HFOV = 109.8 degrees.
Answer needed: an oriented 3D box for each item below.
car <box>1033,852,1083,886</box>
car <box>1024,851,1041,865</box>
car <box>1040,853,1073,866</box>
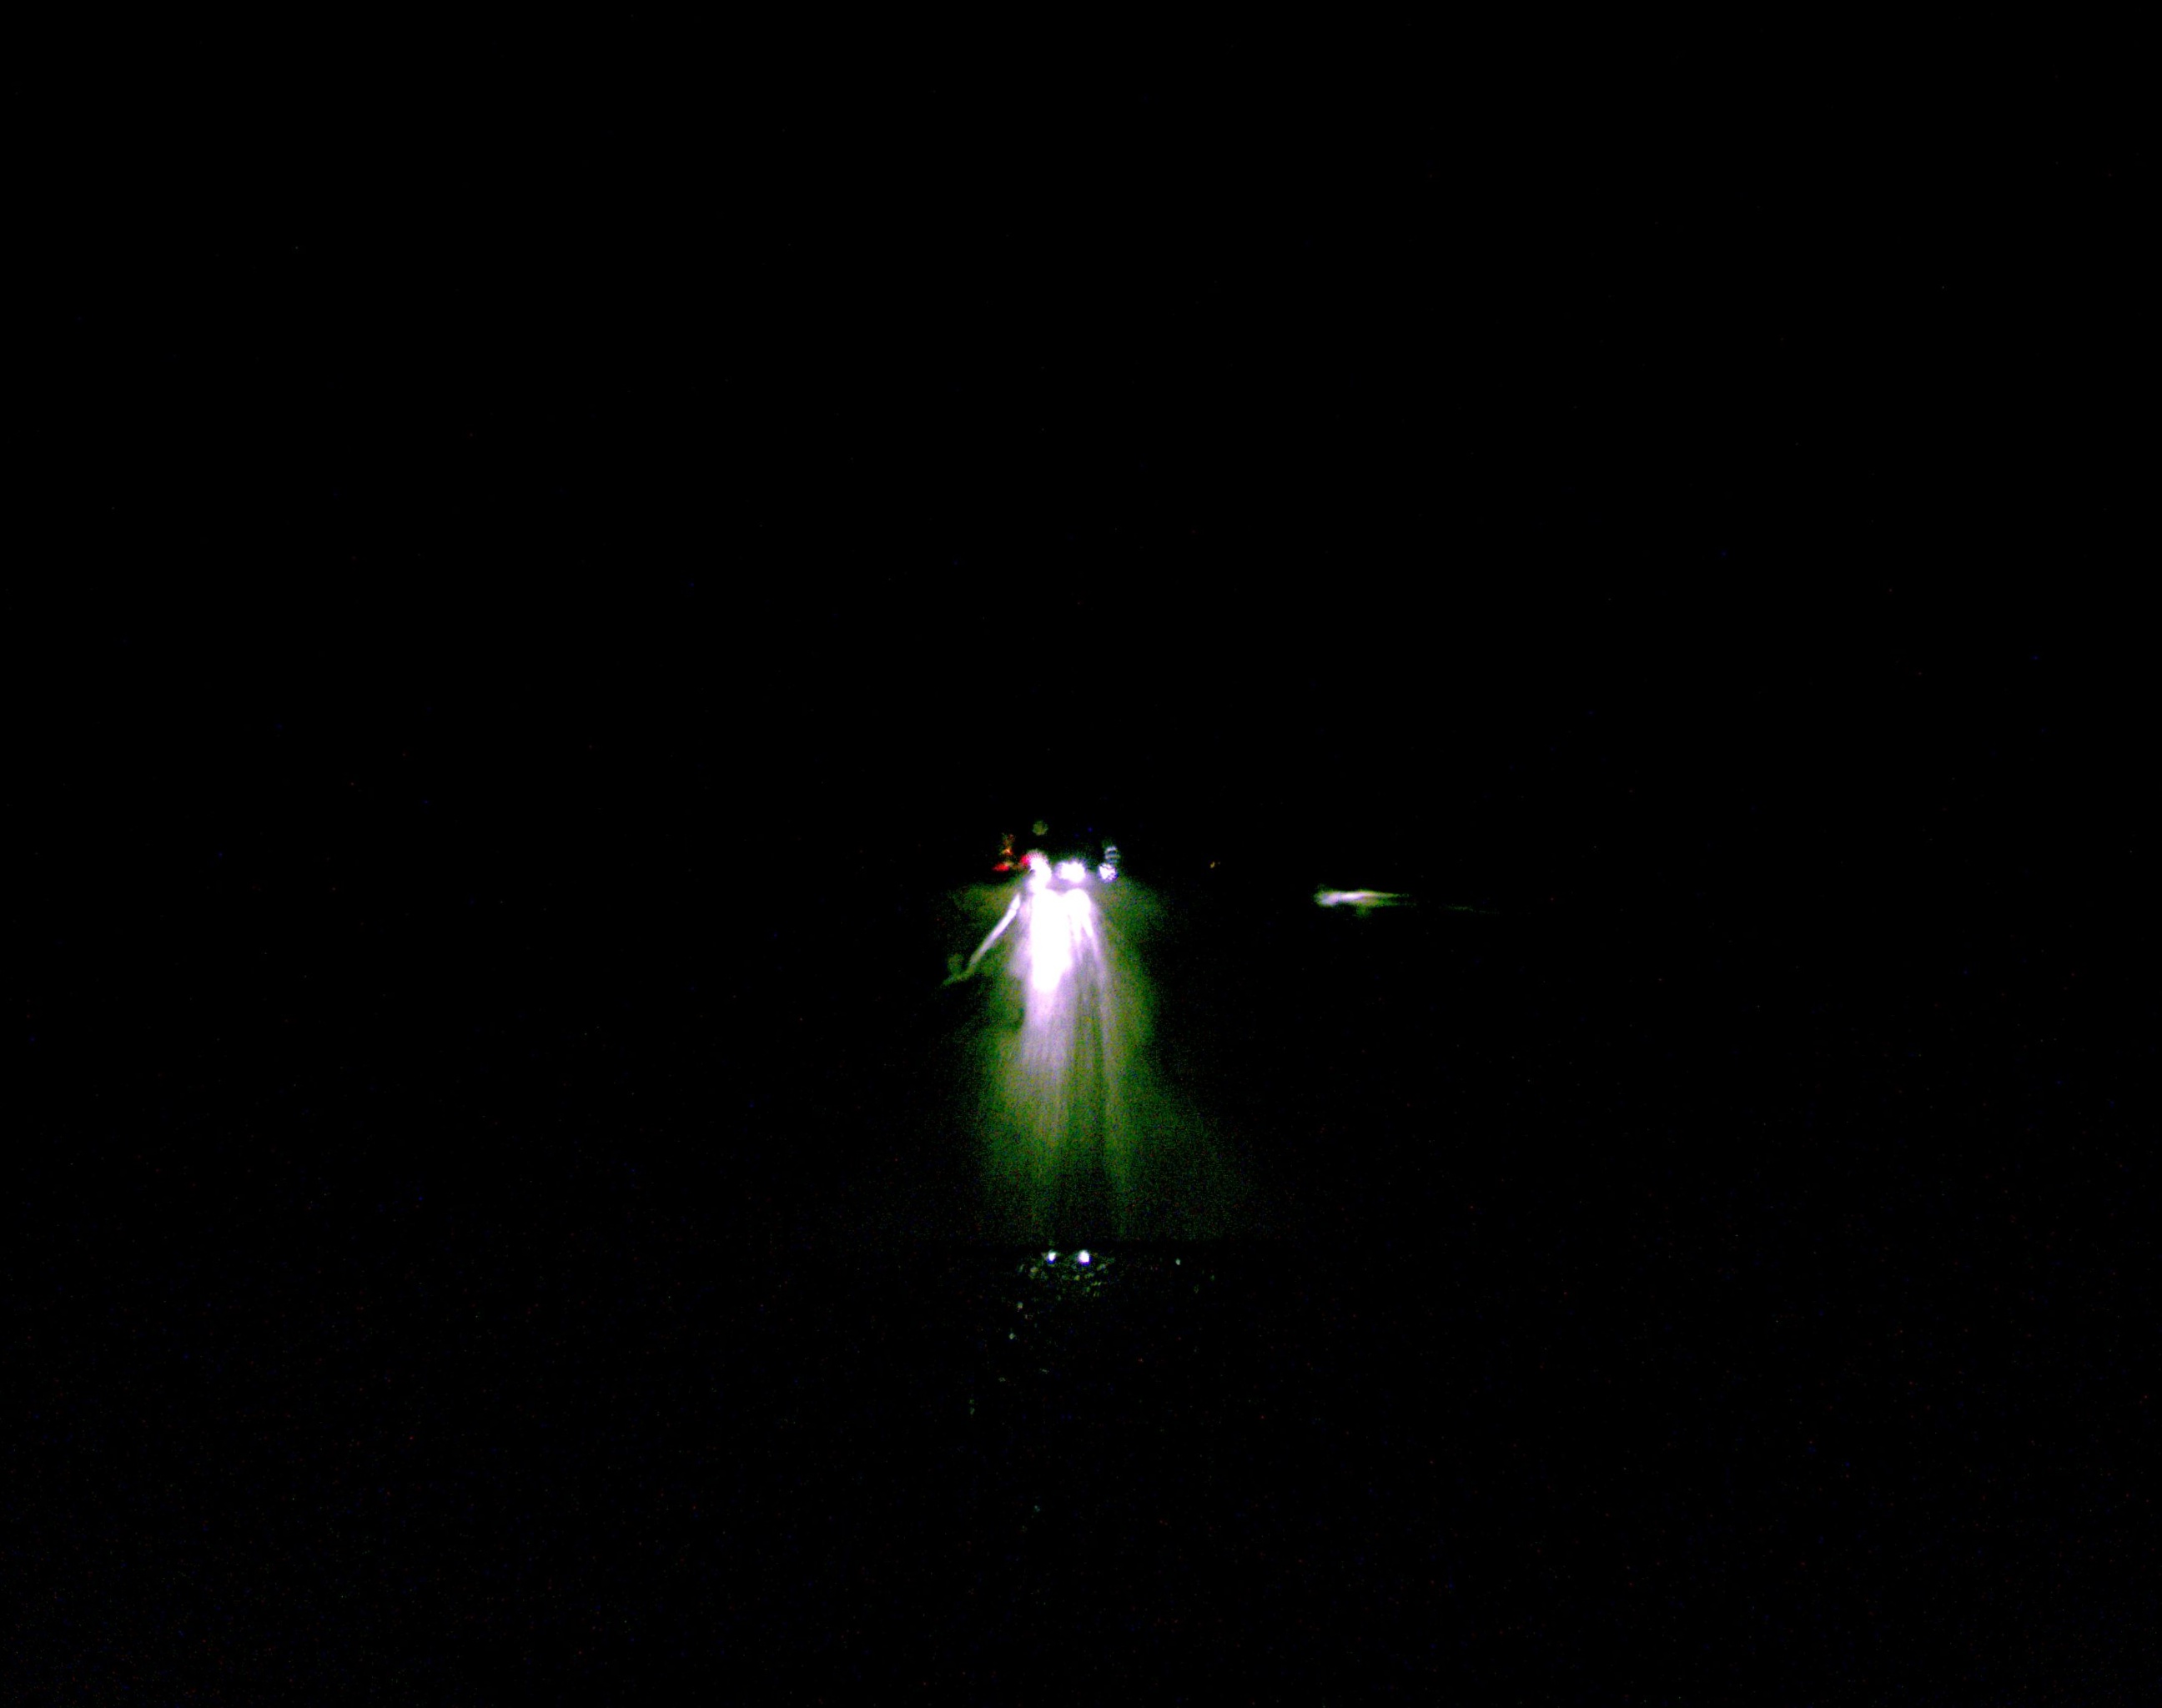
[{"bbox_3d":[-1.189,0.724,37.313,1.903,1.551,3.997,1,-1,-10],"label":"car"},{"bbox_3d":[-6.279,0.507,98.357,1.848,1.710,3.957,-2,0,-8],"label":"car"},{"bbox_3d":[-4.014,0.887,123.353,4.951,1.827,1.932,3,-1,-11],"label":"car"}]
